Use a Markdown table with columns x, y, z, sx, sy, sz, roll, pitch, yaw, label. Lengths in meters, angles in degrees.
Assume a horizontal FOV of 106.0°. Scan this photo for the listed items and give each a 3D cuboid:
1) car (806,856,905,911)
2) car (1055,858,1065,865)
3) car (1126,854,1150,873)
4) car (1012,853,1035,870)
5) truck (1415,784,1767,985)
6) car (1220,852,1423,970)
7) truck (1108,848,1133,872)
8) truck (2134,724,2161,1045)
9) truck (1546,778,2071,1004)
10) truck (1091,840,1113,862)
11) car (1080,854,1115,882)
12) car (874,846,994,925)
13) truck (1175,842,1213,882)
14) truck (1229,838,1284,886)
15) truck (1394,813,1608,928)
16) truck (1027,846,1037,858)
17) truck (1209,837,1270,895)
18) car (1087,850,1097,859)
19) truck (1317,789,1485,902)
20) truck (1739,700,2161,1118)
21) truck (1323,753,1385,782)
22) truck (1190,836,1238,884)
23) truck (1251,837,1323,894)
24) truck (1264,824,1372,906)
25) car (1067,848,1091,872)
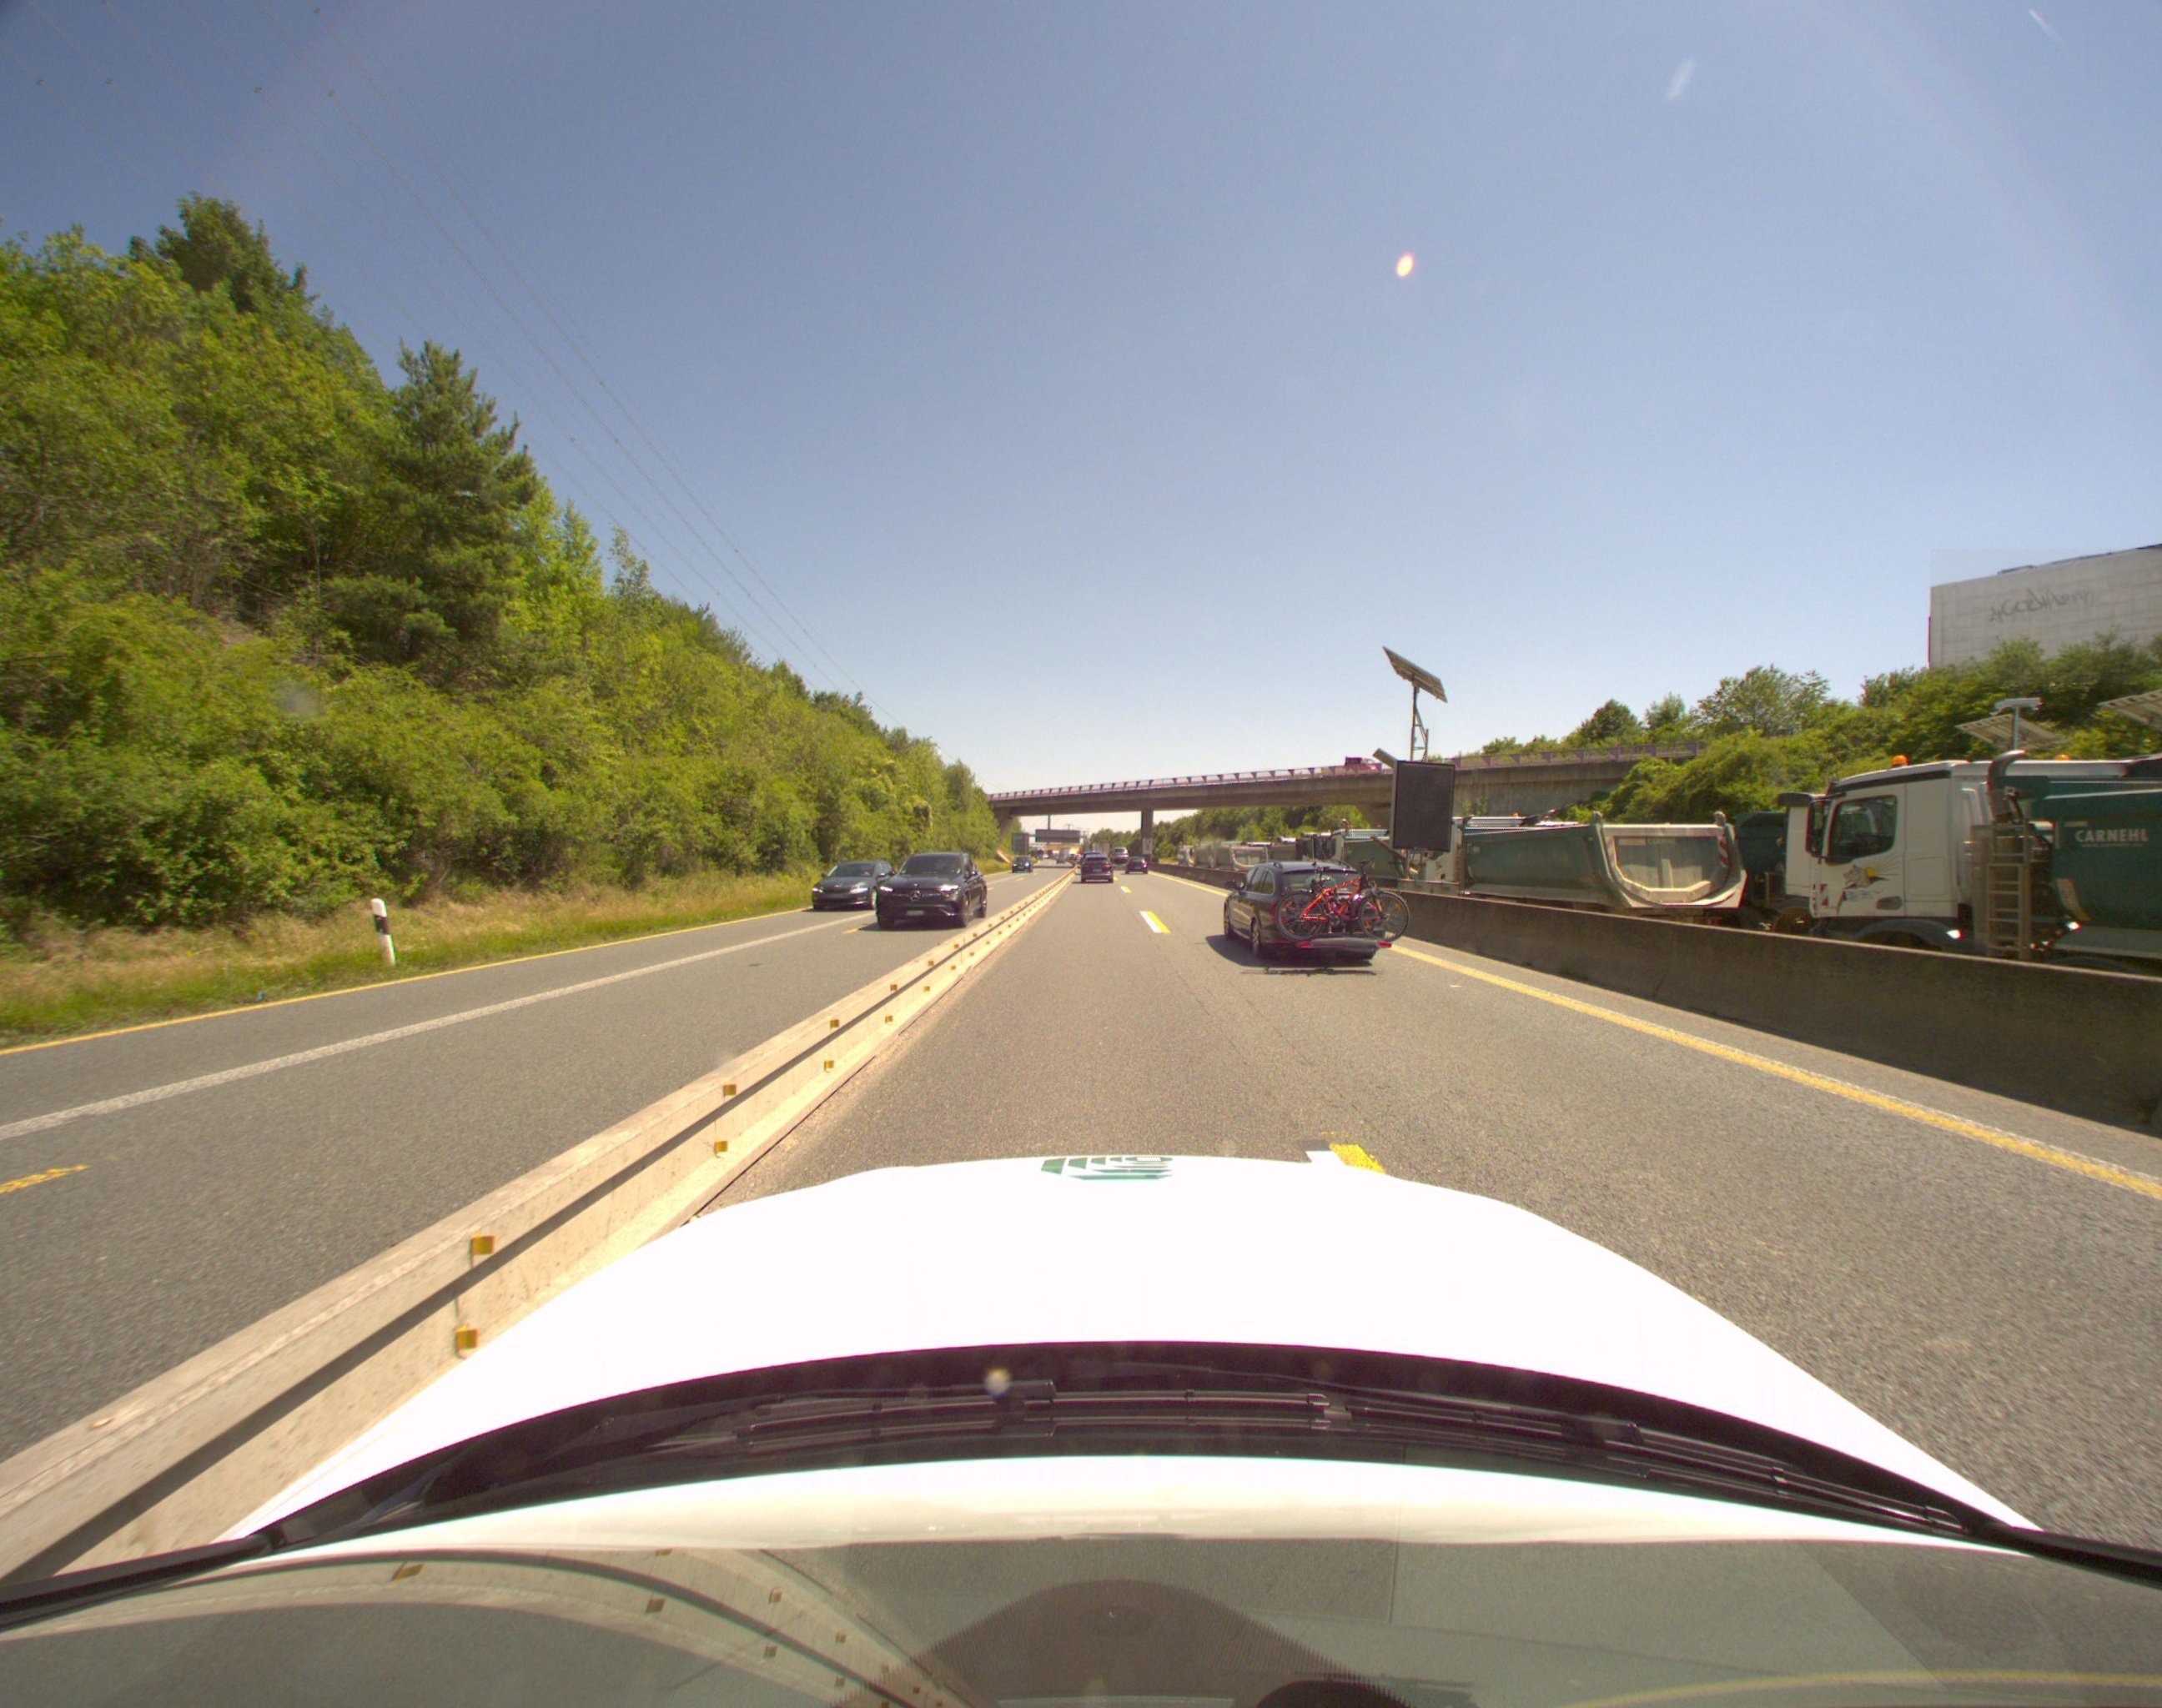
| x | y | z | sx | sy | sz | roll | pitch | yaw | label |
| --- | --- | --- | --- | --- | --- | --- | --- | --- | --- |
| -6.768 | 0.829 | 24.852 | 1.717 | 1.522 | 4.186 | 0 | 0 | 2 | car |
| -4.062 | 1.414 | 158.471 | 1.668 | 1.393 | 4.071 | 0 | -1 | 1 | car |
| 4.695 | 0.785 | 67.699 | 1.892 | 1.585 | 4.278 | 0 | 0 | 2 | car |
| -5.533 | 0.702 | 78.344 | 1.771 | 1.577 | 4.071 | 0 | 0 | 2 | car |
| 10.975 | 0.547 | 19.147 | 2.677 | 3.557 | 9.411 | 0 | 0 | 2 | truck |
| 3.448 | 0.738 | 12.748 | 1.892 | 1.490 | 4.950 | 0 | -1 | 2 | car |
| 4.161 | 0.609 | 87.712 | 2.397 | 2.558 | 7.499 | 0 | 0 | 0 | truck |
| 13.228 | 0.325 | 4.453 | 2.677 | 3.557 | 9.605 | 0 | 0 | 1 | truck |
| 13.635 | 0.566 | 17.000 | 2.677 | 3.378 | 9.608 | 0 | 0 | 2 | truck |
| 3.868 | -0.508 | 151.165 | 3.286 | 3.845 | 10.096 | 0 | 0 | -4 | truck |
| 0.968 | 0.778 | 46.692 | 1.892 | 1.505 | 4.278 | 0 | 0 | 2 | car |
| -3.291 | 0.653 | 19.165 | 1.837 | 1.610 | 4.700 | 1 | 0 | 1 | car |
| 11.269 | 0.752 | 81.894 | 2.678 | 3.843 | 9.326 | 0 | 0 | 1 | truck |
| 14.369 | 0.615 | 67.395 | 2.678 | 3.727 | 9.325 | 0 | 0 | 0 | truck |
| 14.197 | 0.482 | 28.760 | 2.678 | 3.378 | 9.602 | 0 | 0 | 0 | truck |
| -12.496 | -0.477 | 207.808 | 2.503 | 3.186 | 10.096 | 0 | 0 | -4 | truck |
| 11.126 | 0.808 | 58.058 | 2.678 | 3.761 | 9.326 | 0 | 0 | 1 | truck |
| 2.581 | 0.157 | 186.192 | 1.895 | 1.968 | 4.270 | 0 | 0 | -4 | car |
| 11.442 | -0.261 | 30.361 | 2.678 | 3.557 | 9.325 | 0 | 0 | 0 | truck |
| 10.524 | 0.466 | 6.698 | 2.677 | 3.557 | 9.605 | 0 | 0 | 1 | truck |
| 25.472 | -8.008 | 76.208 | 1.945 | 2.066 | 5.456 | 0 | -1 | -35 | truck |
| 11.223 | 0.503 | 69.498 | 2.678 | 3.856 | 9.326 | 0 | 0 | 1 | truck |
| 13.933 | 0.732 | 55.953 | 2.678 | 3.557 | 9.325 | 0 | 0 | 0 | truck |
| 11.320 | 0.487 | 39.955 | 2.678 | 3.557 | 9.325 | 0 | 0 | 0 | truck |
| -0.147 | 0.482 | 68.620 | 1.892 | 1.968 | 4.278 | 0 | 0 | 2 | car |
